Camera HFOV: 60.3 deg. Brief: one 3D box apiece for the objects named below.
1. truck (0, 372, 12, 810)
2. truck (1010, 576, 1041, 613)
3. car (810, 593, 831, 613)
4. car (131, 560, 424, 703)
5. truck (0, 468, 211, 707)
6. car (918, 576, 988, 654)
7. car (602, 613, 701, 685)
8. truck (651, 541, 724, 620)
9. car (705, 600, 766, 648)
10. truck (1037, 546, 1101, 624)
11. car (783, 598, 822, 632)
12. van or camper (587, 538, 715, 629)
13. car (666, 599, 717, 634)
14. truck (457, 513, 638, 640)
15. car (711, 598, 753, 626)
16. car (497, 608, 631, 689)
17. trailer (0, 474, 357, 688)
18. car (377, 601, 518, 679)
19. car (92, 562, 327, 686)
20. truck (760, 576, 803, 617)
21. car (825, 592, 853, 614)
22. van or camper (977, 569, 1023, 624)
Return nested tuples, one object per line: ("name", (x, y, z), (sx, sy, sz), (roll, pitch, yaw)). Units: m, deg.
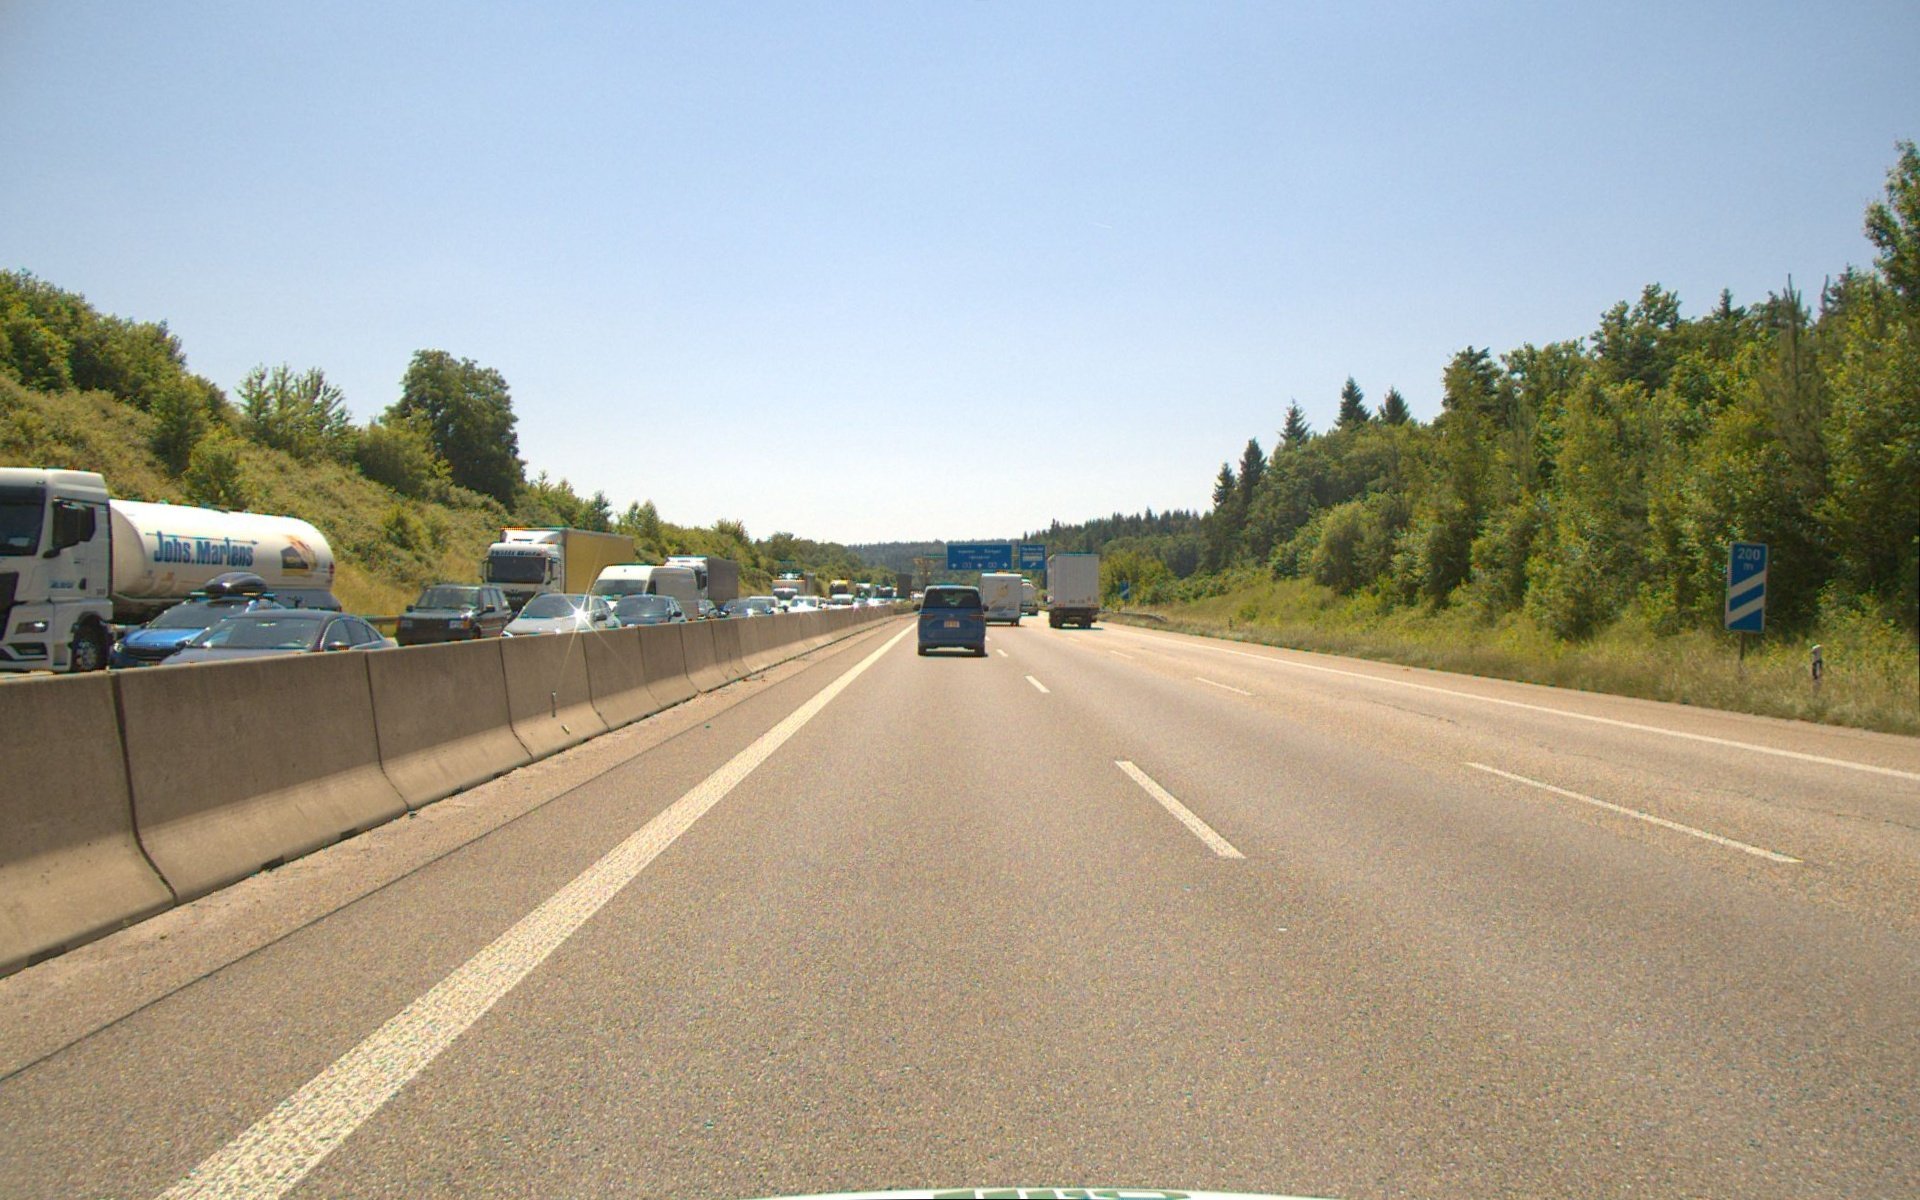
("truck", (-7.880, -0.116, 8.302), (2.221, 3.069, 6.776), (1, -1, 0))
("truck", (6.657, -0.625, 169.507), (2.867, 3.637, 8.527), (-1, 0, 1))
("car", (-12.542, 0.263, 148.904), (1.539, 1.762, 3.884), (1, -1, -1))
("car", (-8.182, 0.371, 20.347), (1.791, 1.523, 4.756), (1, -1, -3))
("truck", (-15.904, -0.188, 29.408), (2.625, 3.809, 5.869), (1, -1, -3))
("car", (-0.217, 0.374, 46.476), (1.870, 2.048, 4.000), (0, 1, -1))
("car", (-8.227, 1.266, 44.541), (1.791, 1.795, 4.989), (1, -1, -1))
("truck", (-16.677, -1.091, 101.922), (2.881, 4.595, 8.605), (1, -1, 1))
("car", (-8.733, 0.929, 64.591), (1.791, 1.795, 4.989), (1, -1, -1))
("truck", (6.191, -0.754, 95.242), (2.727, 4.201, 9.736), (1, -1, -2))
("car", (-8.728, 0.826, 92.118), (1.791, 1.795, 4.989), (1, -1, -1))
("van or camper", (-10.251, -0.478, 55.575), (2.204, 2.824, 7.222), (1, -1, 6))
("car", (-12.742, 0.785, 78.704), (1.791, 1.592, 4.522), (1, -1, -1))
("truck", (-16.579, -0.764, 68.356), (3.622, 4.534, 16.669), (1, -1, -1))
("car", (-12.882, 0.640, 93.498), (1.791, 1.519, 4.989), (0, 0, -1))
("car", (-8.102, 0.963, 34.267), (1.791, 1.523, 4.756), (1, -1, -3))
("trailer", (-16.012, -0.367, 35.086), (2.557, 3.798, 10.680), (1, 0, -1))
("car", (-12.486, 0.952, 40.641), (1.956, 1.758, 4.759), (1, -1, 0))
("car", (-12.068, 0.381, 26.995), (1.792, 1.795, 4.986), (1, -1, -4))
("truck", (-13.043, -0.199, 121.261), (2.517, 2.895, 6.750), (1, -1, -1))
("car", (-8.982, 0.227, 122.713), (1.791, 1.592, 5.109), (1, -1, -1))
("van or camper", (2.358, -0.277, 99.514), (2.550, 3.132, 7.183), (1, 1, 0))
